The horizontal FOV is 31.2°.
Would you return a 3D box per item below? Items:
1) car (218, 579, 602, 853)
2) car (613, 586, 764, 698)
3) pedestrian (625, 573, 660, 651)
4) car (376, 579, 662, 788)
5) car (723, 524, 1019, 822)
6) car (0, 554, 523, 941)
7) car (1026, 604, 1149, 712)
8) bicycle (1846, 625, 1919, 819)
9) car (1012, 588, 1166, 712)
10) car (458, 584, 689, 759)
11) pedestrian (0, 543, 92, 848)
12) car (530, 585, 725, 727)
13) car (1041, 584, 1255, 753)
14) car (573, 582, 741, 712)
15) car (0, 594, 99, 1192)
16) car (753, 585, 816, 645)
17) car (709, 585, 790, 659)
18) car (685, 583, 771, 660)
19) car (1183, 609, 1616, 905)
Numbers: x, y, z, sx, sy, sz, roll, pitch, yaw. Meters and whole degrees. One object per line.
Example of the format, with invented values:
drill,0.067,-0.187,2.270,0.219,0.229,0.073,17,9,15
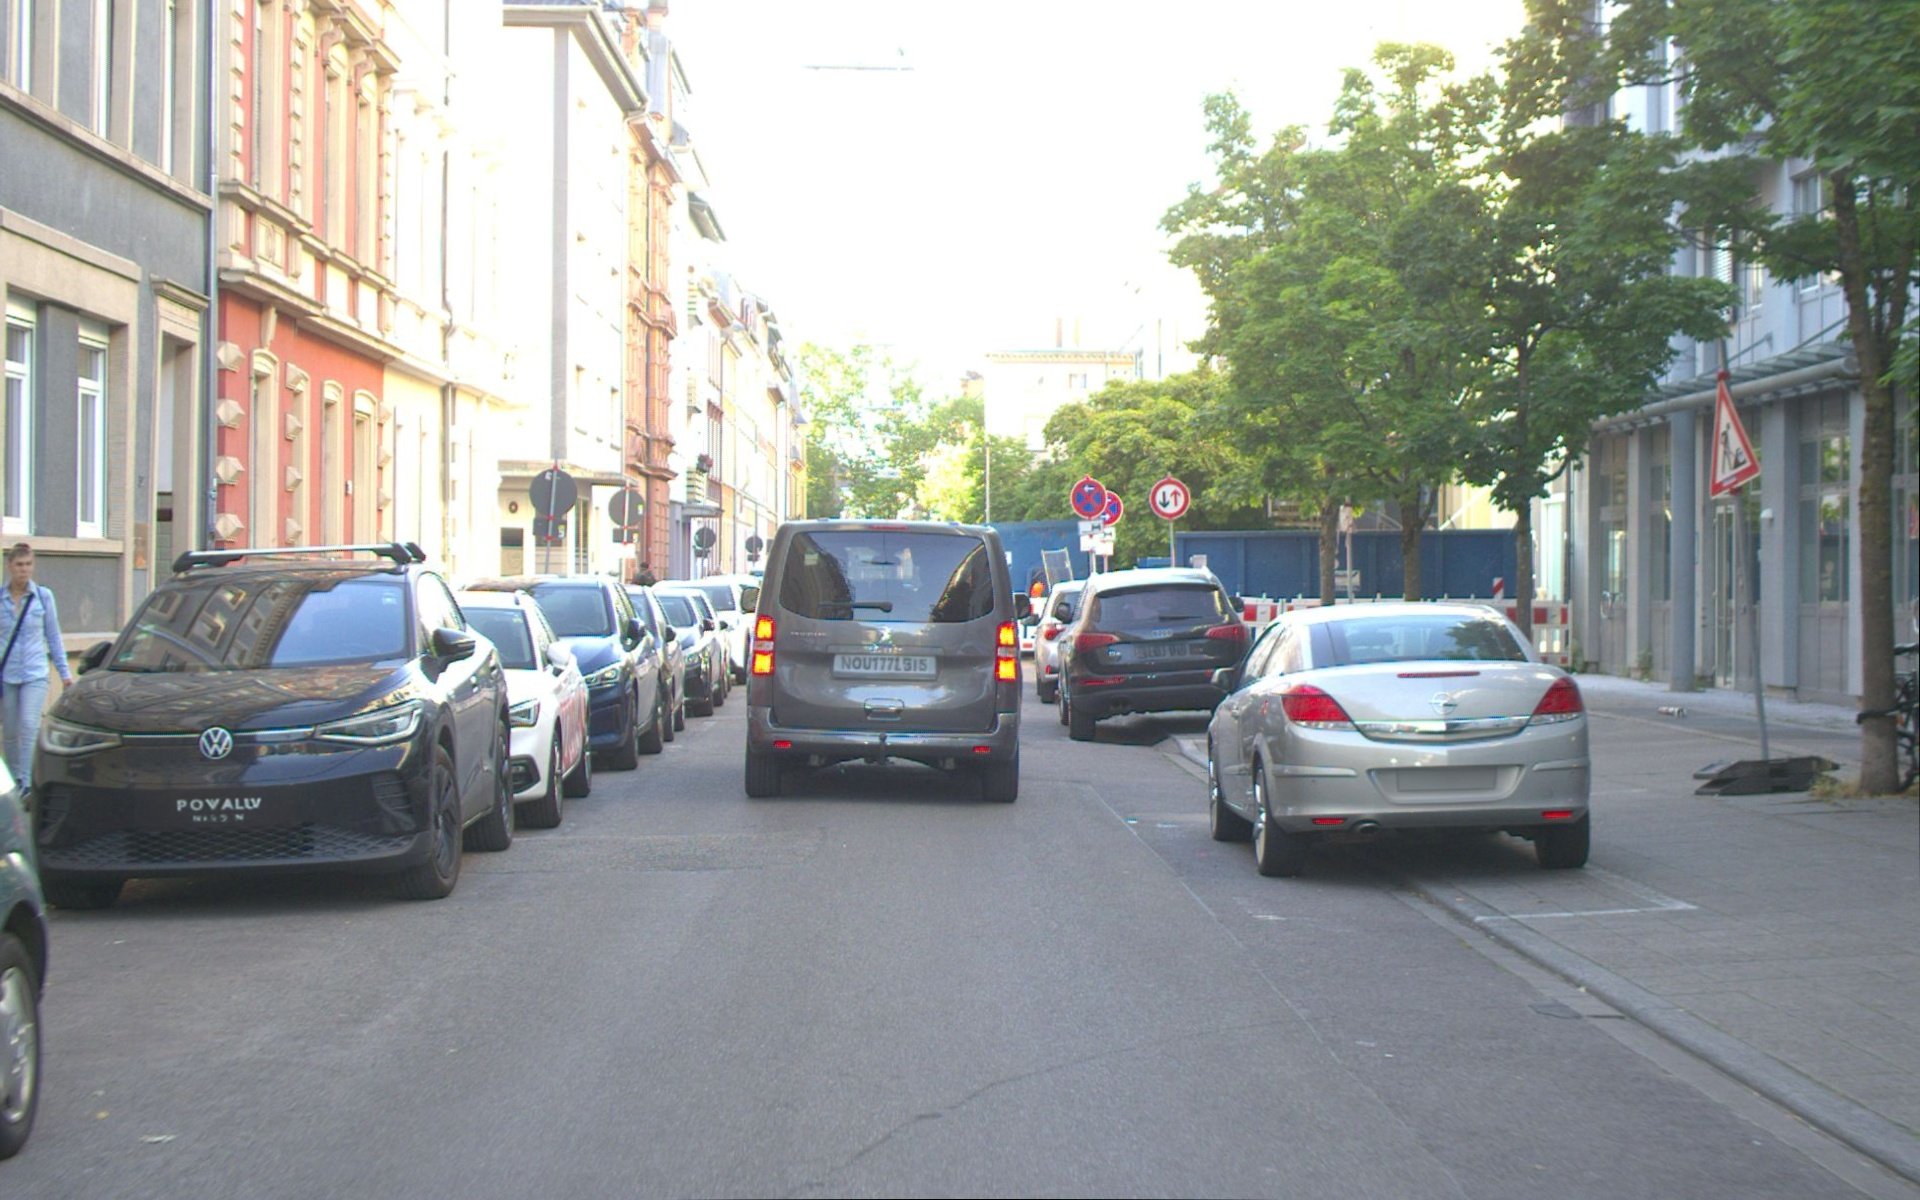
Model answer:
car,-3.455,0.668,22.349,1.920,1.555,4.267,-1,1,-2
car,-3.911,0.577,50.093,1.920,1.502,4.267,-1,1,-1
pedestrian,-6.873,0.256,74.458,0.740,1.659,0.704,1,0,-5
car,-3.560,0.626,28.451,1.920,1.555,4.267,-1,1,-2
car,-0.604,0.494,24.494,1.865,1.880,4.235,2,-1,-1
car,-3.392,0.629,17.318,1.920,1.658,4.469,-1,1,-2
car,1.820,0.812,49.454,1.676,1.471,3.729,-1,0,2
bicycle,6.060,0.743,21.042,0.520,1.164,1.741,-1,0,-11
car,1.635,0.624,44.724,1.676,1.520,3.970,-1,0,-2
car,-3.723,0.646,33.796,1.901,1.555,4.241,-1,1,-2
pedestrian,-5.751,0.564,20.671,0.789,1.784,1.092,-1,0,-1
car,-3.738,0.594,39.269,1.920,1.479,4.267,-1,1,-2
car,1.874,0.662,35.588,1.885,1.617,4.434,-1,0,-1
car,-3.884,0.574,44.690,1.920,1.555,4.267,-1,1,-2
car,-3.249,0.738,7.417,1.779,1.483,4.421,-1,0,-2
car,-6.092,0.524,118.794,1.891,1.840,4.349,6,-1,-4
car,-5.492,0.578,89.244,1.891,1.714,3.754,6,-1,-4
car,-4.963,0.463,73.183,1.656,1.455,3.418,6,-1,-4
car,2.305,0.780,19.097,1.763,1.424,4.345,-1,0,-1
